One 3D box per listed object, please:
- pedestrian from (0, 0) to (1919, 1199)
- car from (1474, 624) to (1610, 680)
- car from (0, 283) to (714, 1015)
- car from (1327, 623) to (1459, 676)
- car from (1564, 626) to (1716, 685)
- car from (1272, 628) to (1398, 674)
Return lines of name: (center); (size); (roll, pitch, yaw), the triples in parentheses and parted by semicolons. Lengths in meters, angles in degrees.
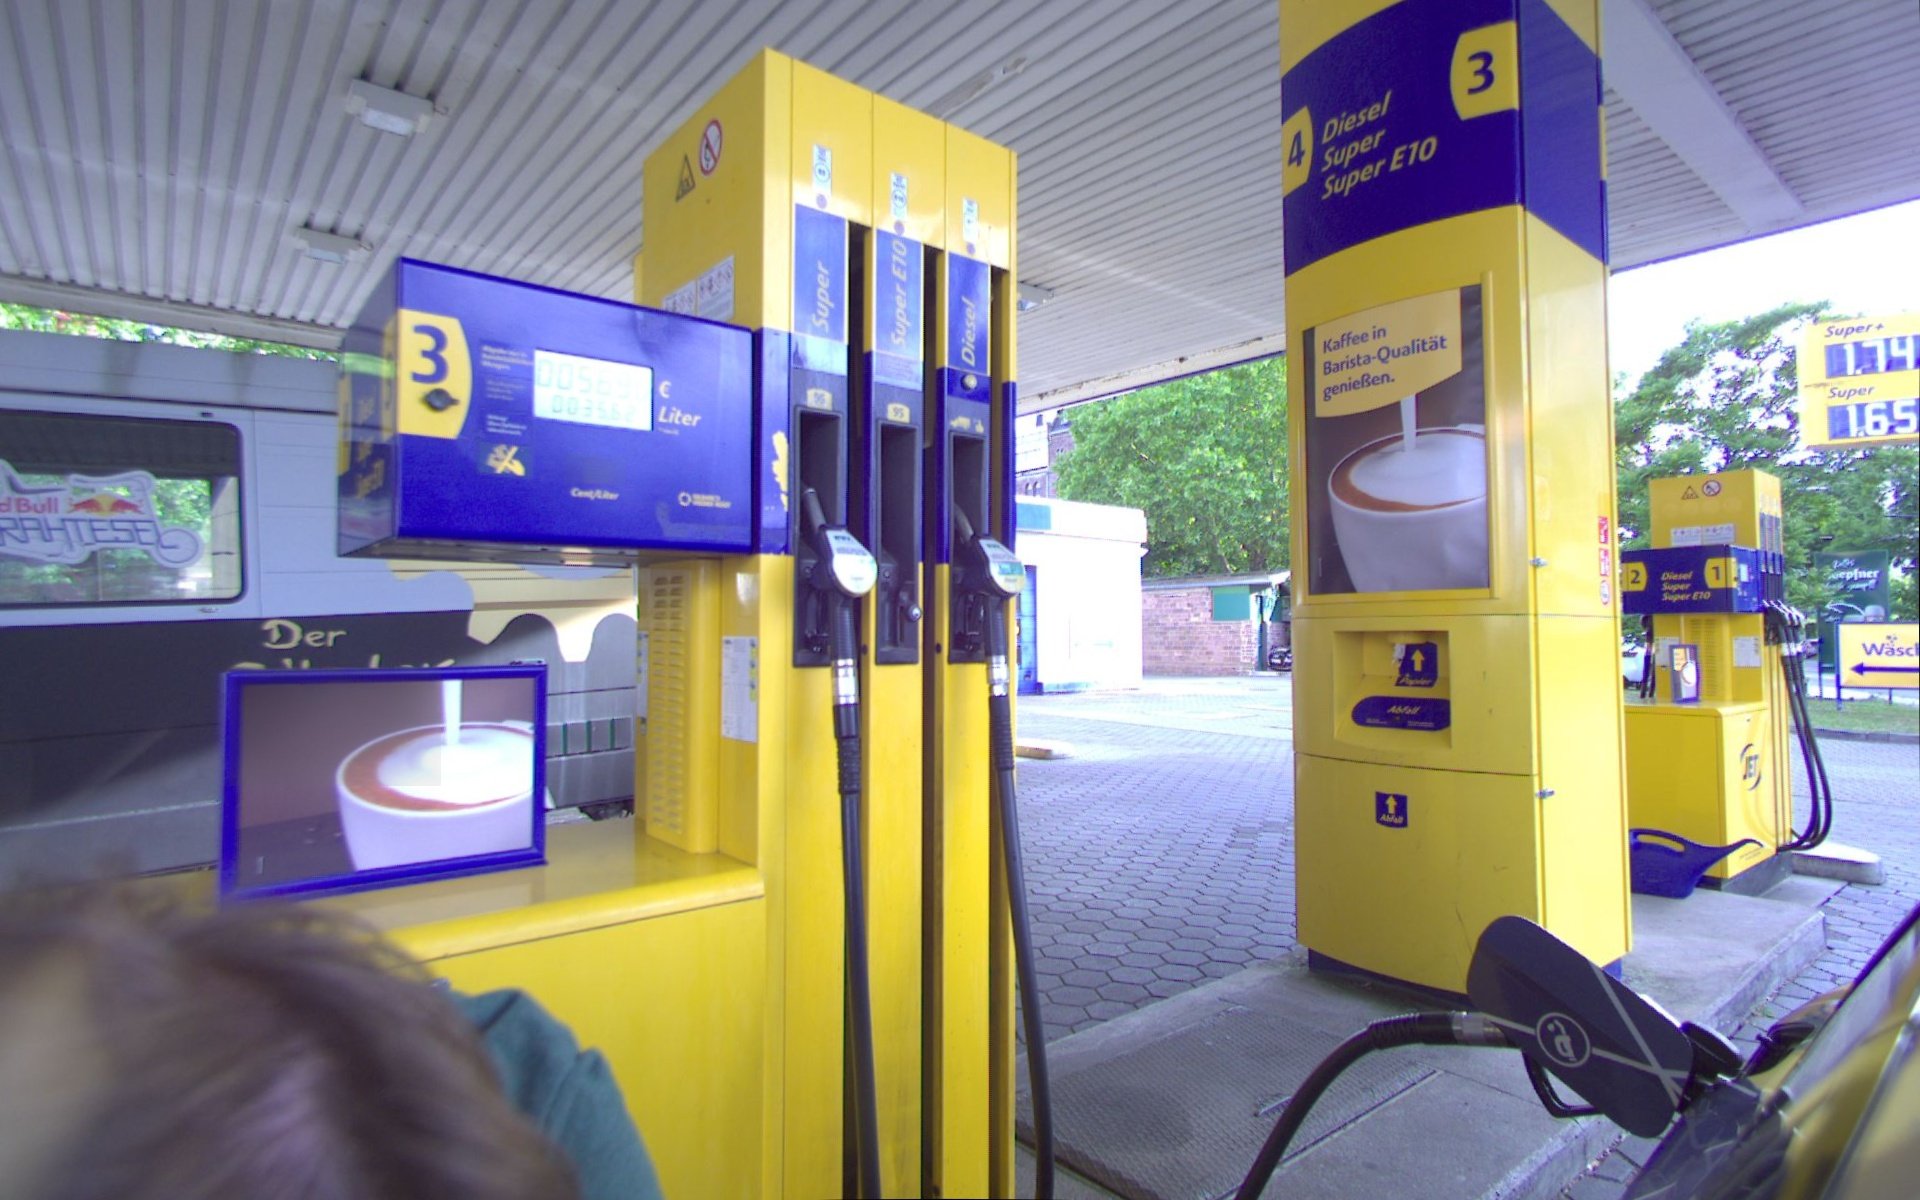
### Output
pedestrian: (-0.333, 0.527, 0.563); (0.975, 1.750, 1.182); (-2, 1, -36)
car: (17.766, 1.577, 30.850); (4.112, 1.606, 1.826); (2, -3, -31)
car: (-4.100, 0.193, 4.852); (5.248, 2.760, 2.201); (0, -1, -39)
car: (13.777, 1.568, 32.168); (4.112, 1.606, 1.826); (2, -3, -31)
car: (18.250, 1.486, 27.133); (4.112, 1.478, 1.826); (2, -3, -31)
car: (12.638, 1.699, 34.031); (4.112, 1.453, 1.826); (2, -3, -31)
